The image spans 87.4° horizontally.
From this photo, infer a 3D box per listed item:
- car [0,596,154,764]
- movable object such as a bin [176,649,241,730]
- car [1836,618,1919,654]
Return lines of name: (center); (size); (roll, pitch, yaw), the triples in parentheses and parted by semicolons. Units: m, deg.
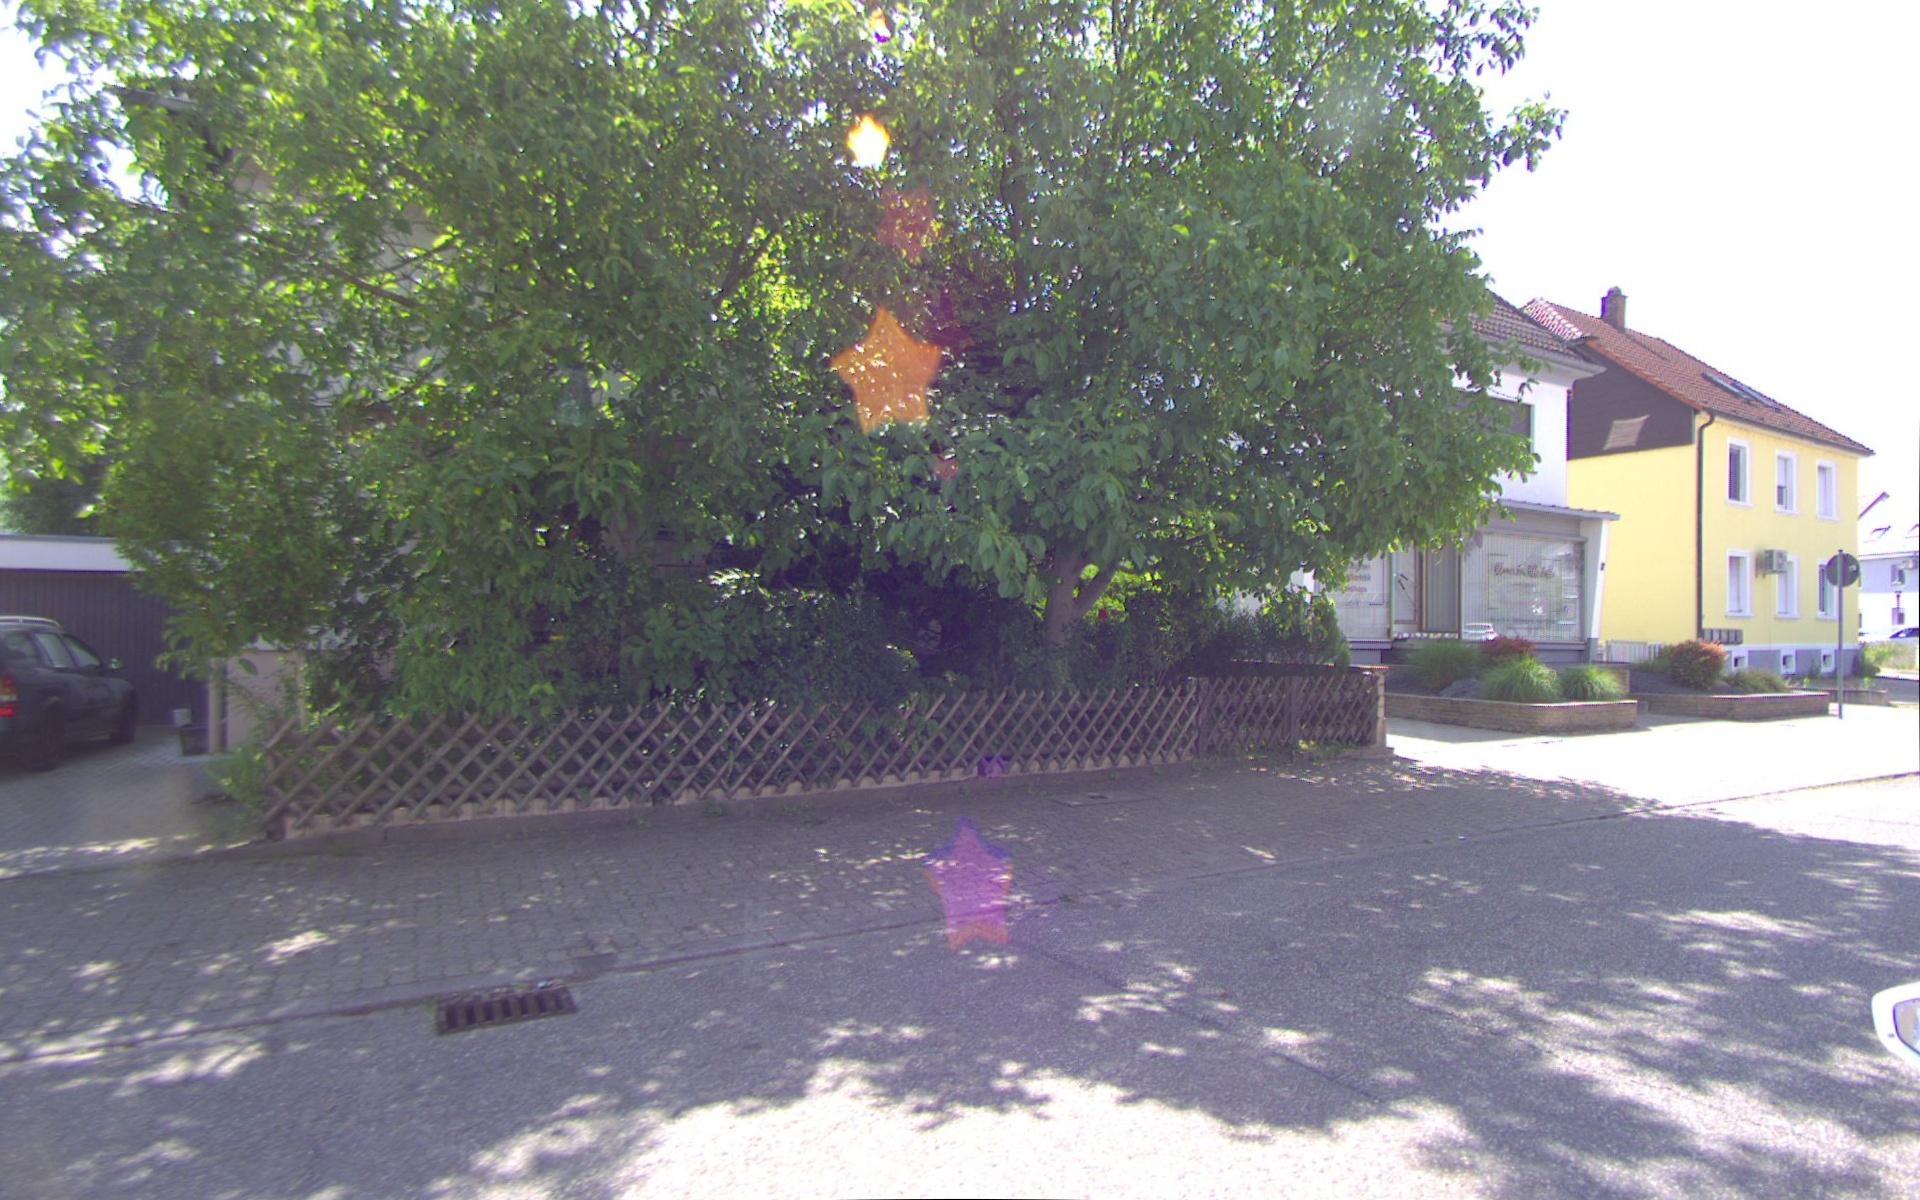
car: (-10.064, 0.770, 10.500); (1.771, 1.512, 3.899); (0, -1, -27)
movable object such as a bin: (-9.083, 1.064, 12.161); (0.522, 0.912, 0.624); (1, 0, -28)
car: (46.388, 1.824, 49.771); (4.171, 1.508, 1.748); (3, 3, 4)
